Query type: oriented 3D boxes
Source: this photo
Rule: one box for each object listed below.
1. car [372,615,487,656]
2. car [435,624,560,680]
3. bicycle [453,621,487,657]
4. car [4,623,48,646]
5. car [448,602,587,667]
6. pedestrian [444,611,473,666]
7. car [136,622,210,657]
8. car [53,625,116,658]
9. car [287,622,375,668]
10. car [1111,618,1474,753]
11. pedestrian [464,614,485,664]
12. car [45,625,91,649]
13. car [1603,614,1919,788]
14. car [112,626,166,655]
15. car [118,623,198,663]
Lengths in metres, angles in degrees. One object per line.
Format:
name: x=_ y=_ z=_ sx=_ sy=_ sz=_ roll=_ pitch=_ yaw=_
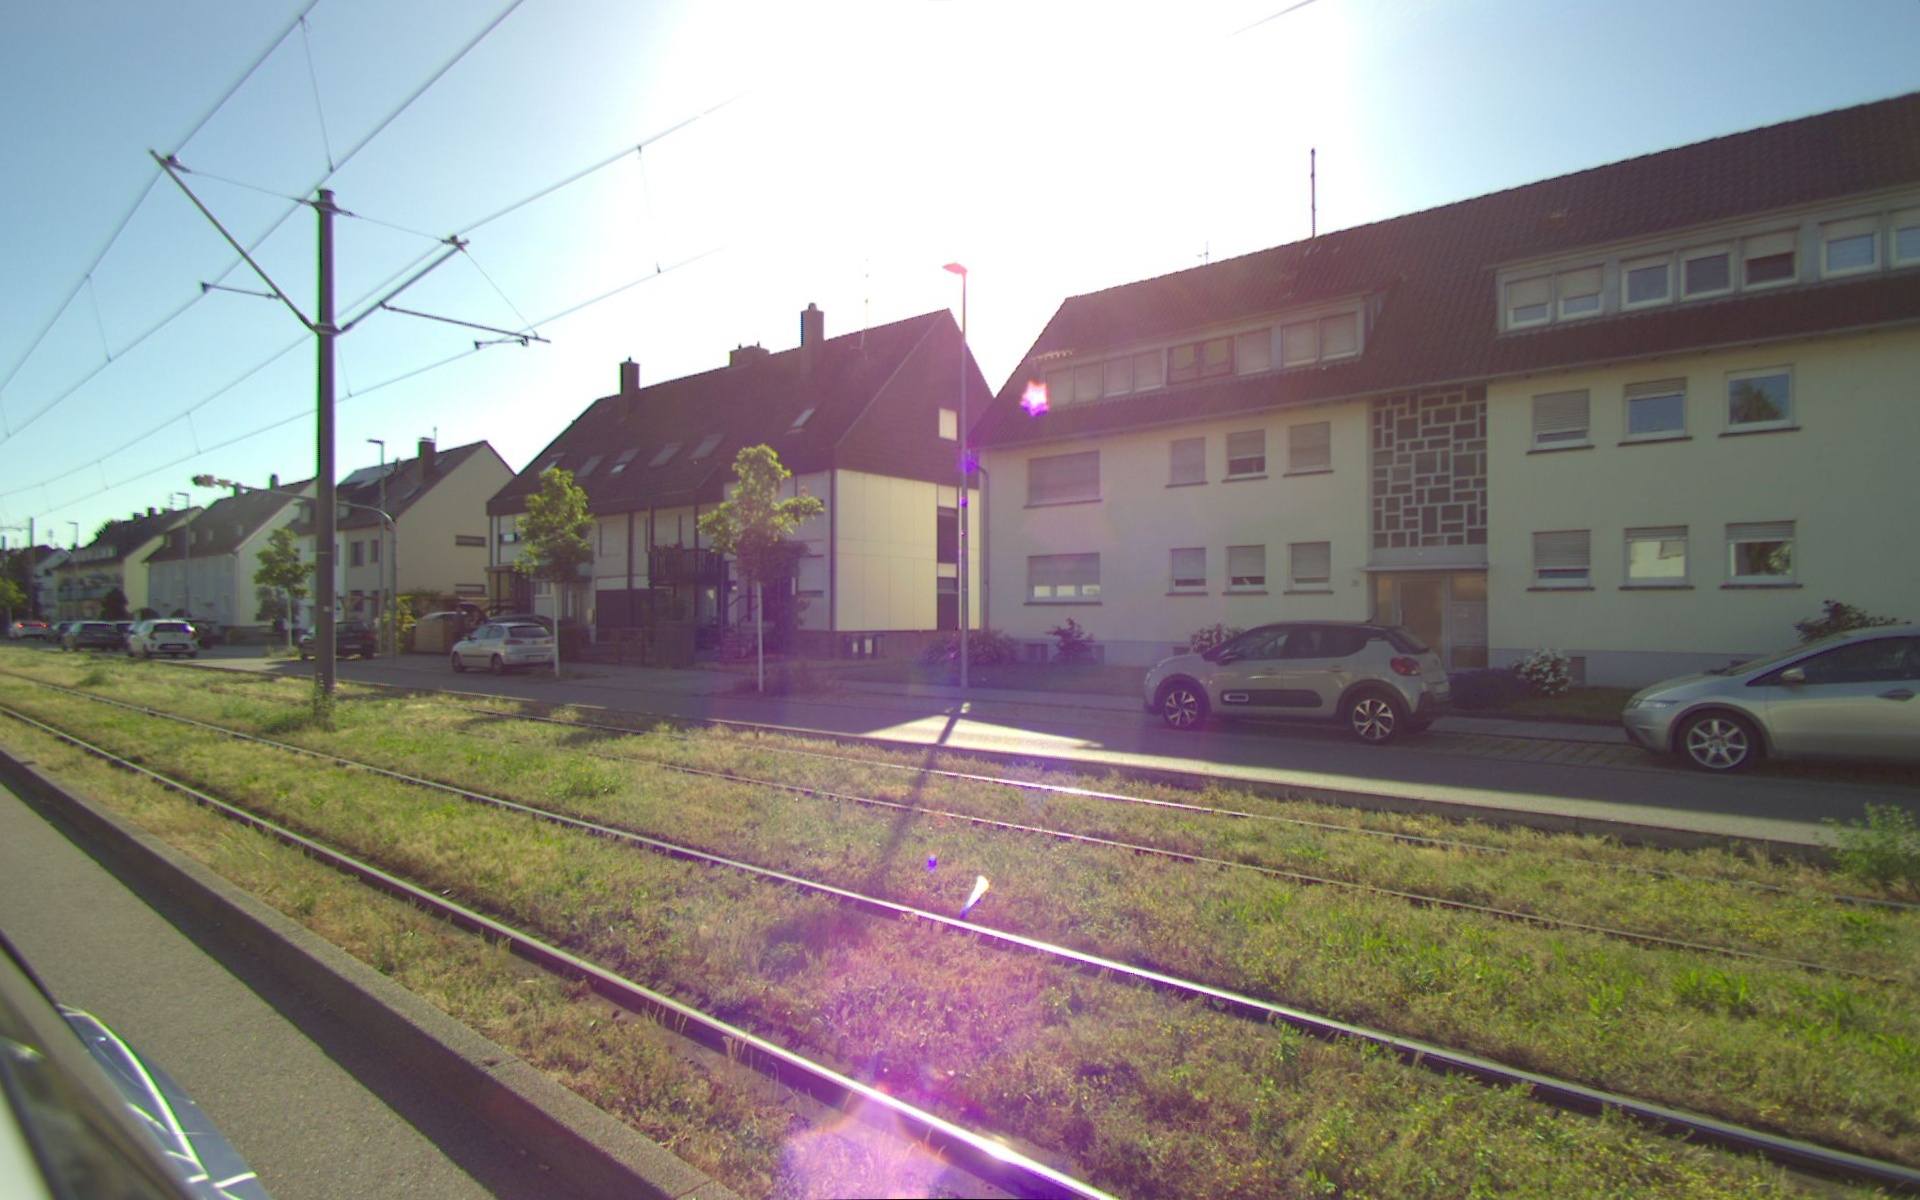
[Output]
car: x=-24.744 y=1.621 z=47.308 sx=1.968 sy=1.797 sz=4.348 roll=-2 pitch=-2 yaw=40
car: x=-13.204 y=1.427 z=28.789 sx=4.099 sy=1.447 sz=1.641 roll=-1 pitch=-1 yaw=40
bicycle: x=-16.770 y=1.308 z=34.597 sx=0.471 sy=1.172 sz=1.873 roll=-1 pitch=0 yaw=-44
car: x=-68.291 y=2.520 z=73.983 sx=4.089 sy=1.542 sz=1.809 roll=-1 pitch=0 yaw=40
car: x=-16.548 y=1.219 z=38.029 sx=1.786 sy=2.096 sz=4.415 roll=-1 pitch=2 yaw=41
pedestrian: x=-17.018 y=1.281 z=34.342 sx=0.676 sy=1.829 sz=0.610 roll=-1 pitch=0 yaw=32
car: x=-39.383 y=1.949 z=50.619 sx=4.854 sy=1.572 sz=1.902 roll=-1 pitch=0 yaw=39
car: x=-42.572 y=1.994 z=49.171 sx=4.079 sy=1.486 sz=1.672 roll=-1 pitch=0 yaw=40
car: x=-22.921 y=1.606 z=36.836 sx=4.083 sy=1.523 sz=1.602 roll=-1 pitch=0 yaw=42
car: x=4.315 y=1.003 z=13.544 sx=4.311 sy=1.484 sz=1.672 roll=-1 pitch=0 yaw=40
pedestrian: x=-17.147 y=1.364 z=35.730 sx=0.544 sy=1.701 sz=0.625 roll=-1 pitch=0 yaw=-34
car: x=-58.844 y=2.420 z=66.751 sx=4.089 sy=1.408 sz=1.683 roll=-1 pitch=0 yaw=40
car: x=8.833 y=0.893 z=9.606 sx=4.439 sy=1.486 sz=1.672 roll=-1 pitch=0 yaw=40
car: x=-43.642 y=2.164 z=53.781 sx=3.994 sy=1.479 sz=1.451 roll=-2 pitch=-2 yaw=39
car: x=-31.220 y=1.662 z=39.357 sx=3.676 sy=1.487 sz=1.671 roll=-1 pitch=-3 yaw=40
